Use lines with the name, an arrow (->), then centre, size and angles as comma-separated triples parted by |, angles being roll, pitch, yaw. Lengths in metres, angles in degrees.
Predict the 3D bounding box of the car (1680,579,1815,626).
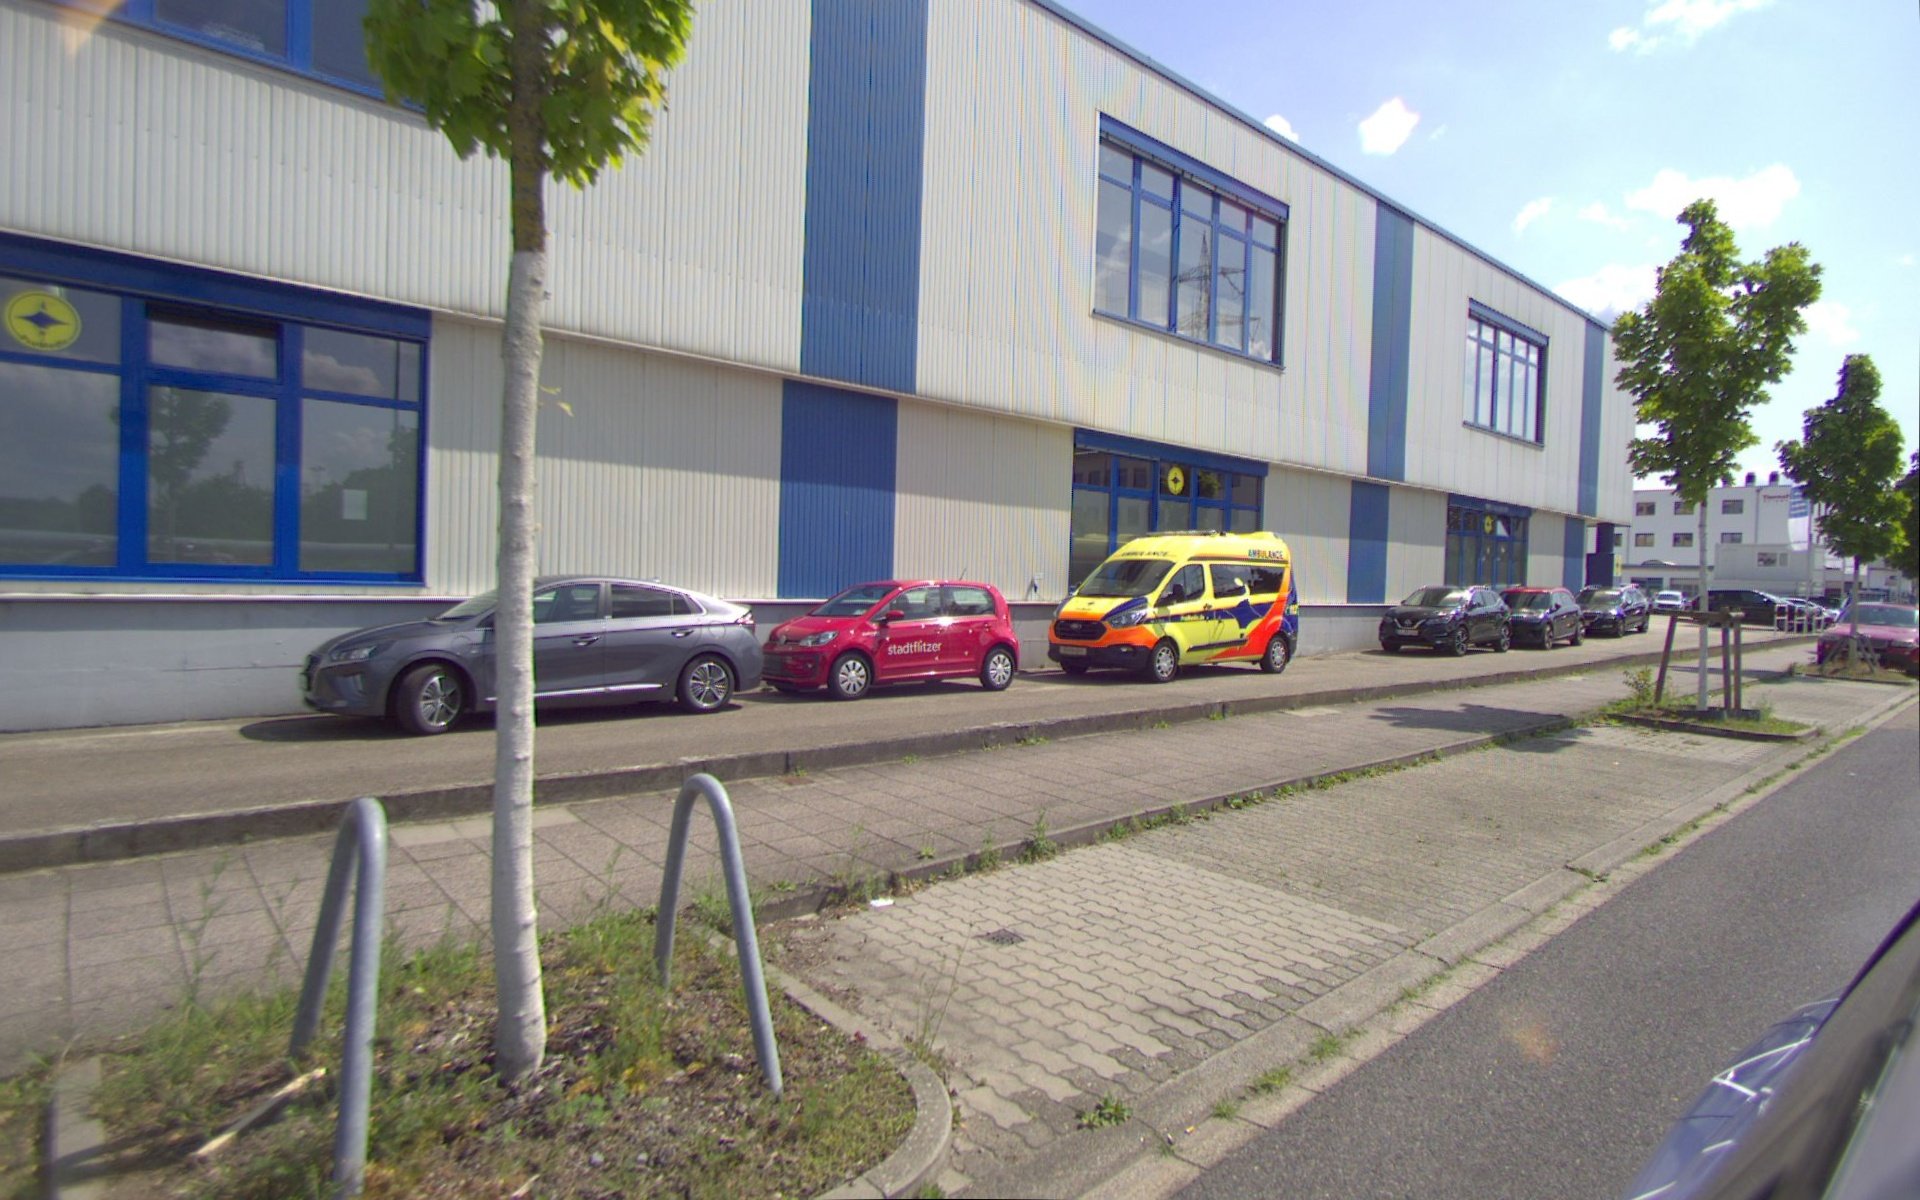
car -> 32.289, 0.066, 41.574 | 1.966, 1.707, 4.090 | 0, 2, -43

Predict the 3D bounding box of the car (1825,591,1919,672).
car -> 21.474, 0.658, 23.223 | 4.595, 1.671, 1.758 | 0, 2, -41

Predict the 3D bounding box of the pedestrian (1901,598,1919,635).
pedestrian -> 46.943, 0.807, 49.816 | 0.773, 1.777, 0.771 | 0, 4, -42

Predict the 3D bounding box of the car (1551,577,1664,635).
car -> 20.493, 0.129, 31.946 | 4.562, 1.530, 1.831 | -3, 4, -42

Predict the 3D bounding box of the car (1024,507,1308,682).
car -> 3.574, -0.115, 16.864 | 5.169, 2.494, 1.927 | 0, 2, -42

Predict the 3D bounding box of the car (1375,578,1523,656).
car -> 11.798, 0.338, 24.318 | 4.142, 1.672, 1.717 | -1, 3, -42

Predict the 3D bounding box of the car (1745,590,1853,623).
car -> 43.004, 0.317, 51.931 | 1.965, 1.437, 3.995 | 1, 3, -41

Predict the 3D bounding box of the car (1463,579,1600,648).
car -> 15.698, 0.293, 27.731 | 4.217, 1.677, 1.997 | -1, 3, -42

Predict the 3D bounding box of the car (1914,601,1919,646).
car -> 35.112, 0.839, 35.674 | 4.385, 1.539, 1.838 | 0, 2, -43

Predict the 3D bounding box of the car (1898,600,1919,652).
car -> 31.095, 0.816, 32.047 | 3.926, 1.539, 1.671 | 0, 2, -42

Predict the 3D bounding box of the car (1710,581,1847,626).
car -> 34.461, 0.125, 42.690 | 2.111, 1.667, 4.232 | 0, 2, -43

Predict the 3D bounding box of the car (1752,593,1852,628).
car -> 44.631, 0.522, 53.687 | 1.760, 1.701, 3.813 | 0, 2, -42

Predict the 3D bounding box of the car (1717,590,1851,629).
car -> 36.239, 0.382, 44.592 | 1.965, 1.437, 4.288 | 1, 3, -41

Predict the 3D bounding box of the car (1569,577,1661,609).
car -> 43.503, -0.475, 67.290 | 2.235, 1.961, 4.690 | 1, 1, -40

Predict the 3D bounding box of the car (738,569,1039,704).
car -> -0.843, 0.387, 13.249 | 3.751, 1.509, 1.575 | 0, 2, -42

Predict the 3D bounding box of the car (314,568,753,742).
car -> -4.139, 0.430, 10.177 | 3.788, 1.421, 1.498 | 0, 2, -42
